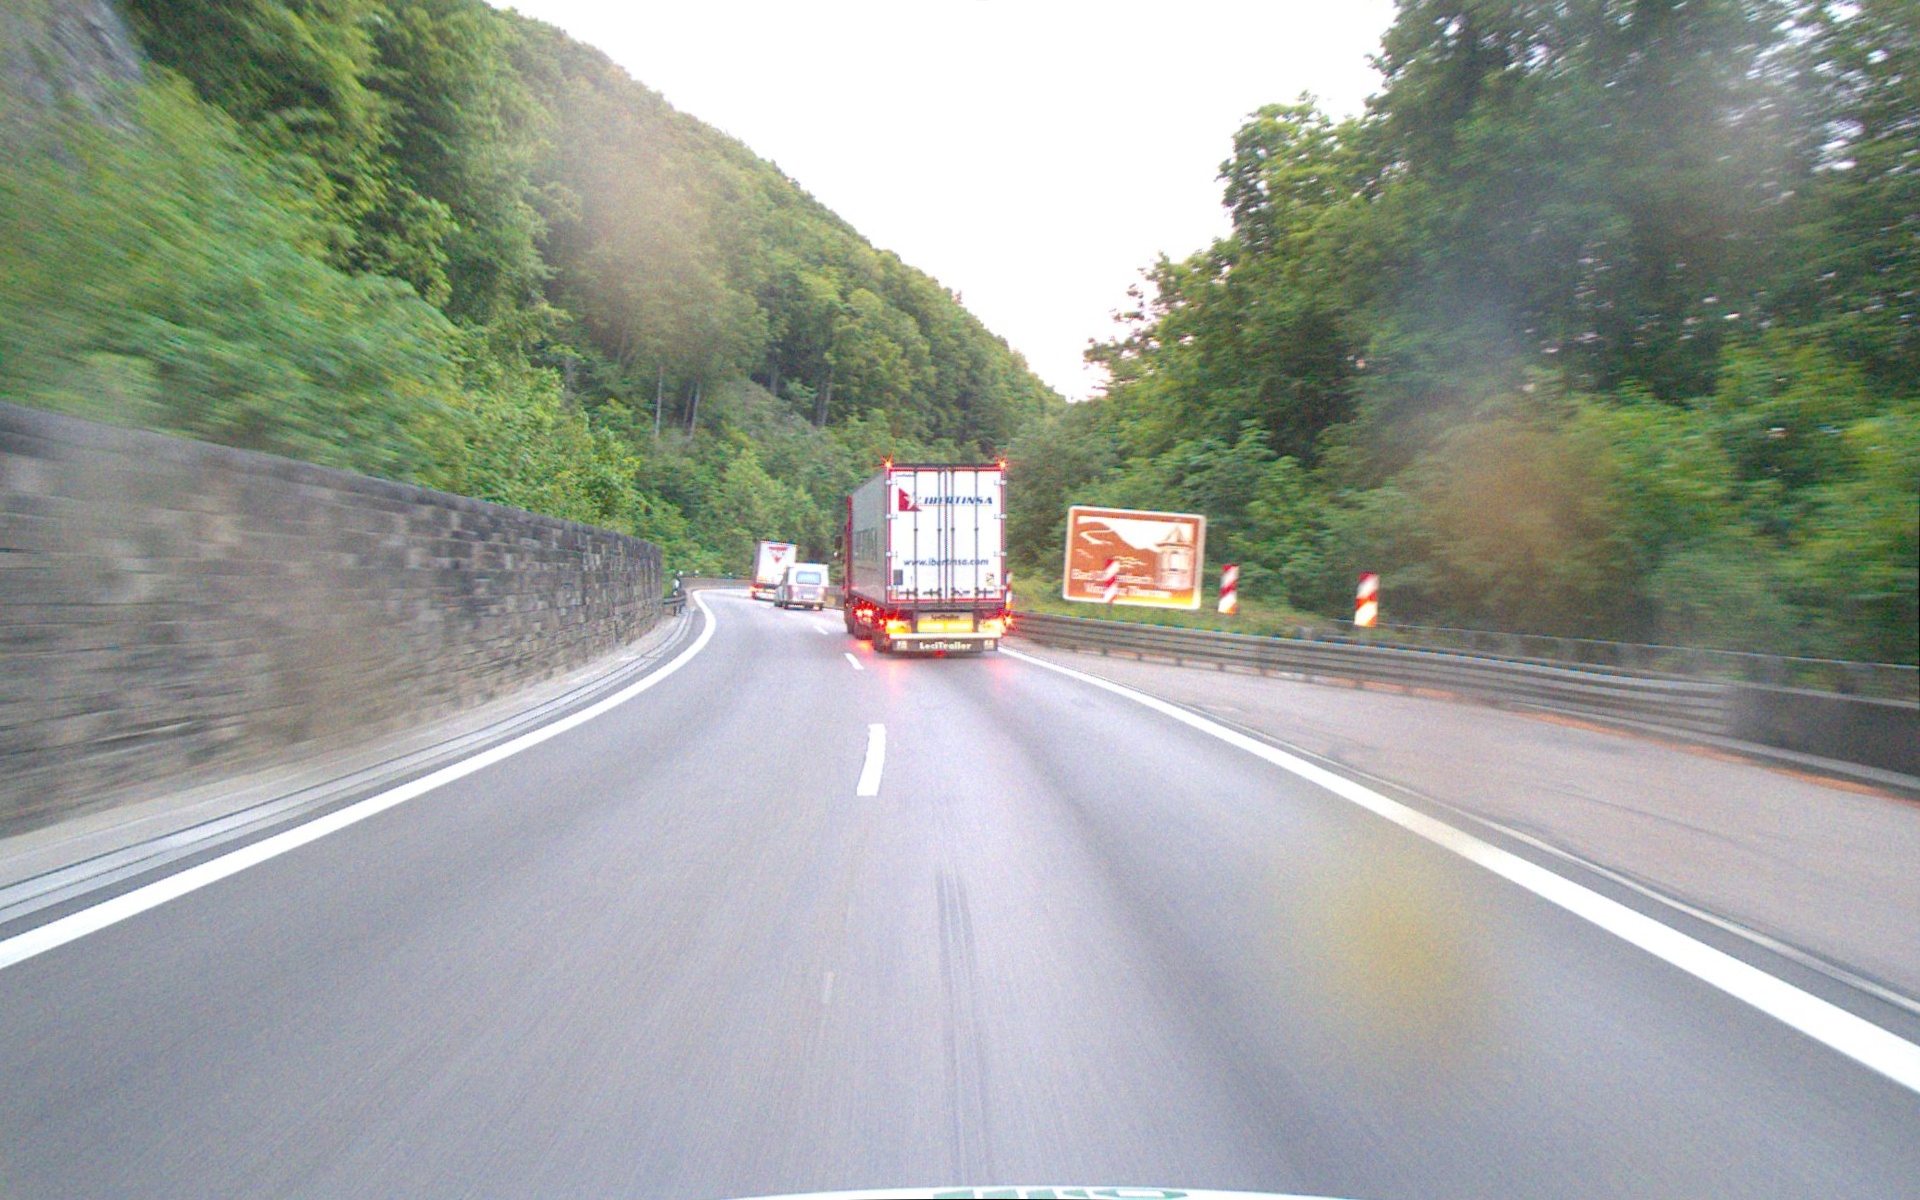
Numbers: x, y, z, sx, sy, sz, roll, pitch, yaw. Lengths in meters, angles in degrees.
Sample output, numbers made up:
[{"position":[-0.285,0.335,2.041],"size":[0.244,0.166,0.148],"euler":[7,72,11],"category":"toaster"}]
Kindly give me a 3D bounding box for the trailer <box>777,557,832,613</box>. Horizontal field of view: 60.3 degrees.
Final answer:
[{"position":[-7.859,-0.812,83.315],"size":[2.018,2.415,5.924],"euler":[6,1,-10],"category":"trailer"}]

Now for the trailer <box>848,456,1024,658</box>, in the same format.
[{"position":[-0.943,-1.162,40.505],"size":[3.037,4.038,14.203],"euler":[-1,2,-6],"category":"trailer"}]

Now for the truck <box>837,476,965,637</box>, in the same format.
[{"position":[-1.794,-1.287,47.179],"size":[3.011,4.216,6.438],"euler":[-2,2,-7],"category":"truck"}]

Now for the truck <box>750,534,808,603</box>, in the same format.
[{"position":[-12.776,-2.073,117.988],"size":[3.230,4.246,16.488],"euler":[2,-1,-4],"category":"truck"}]
